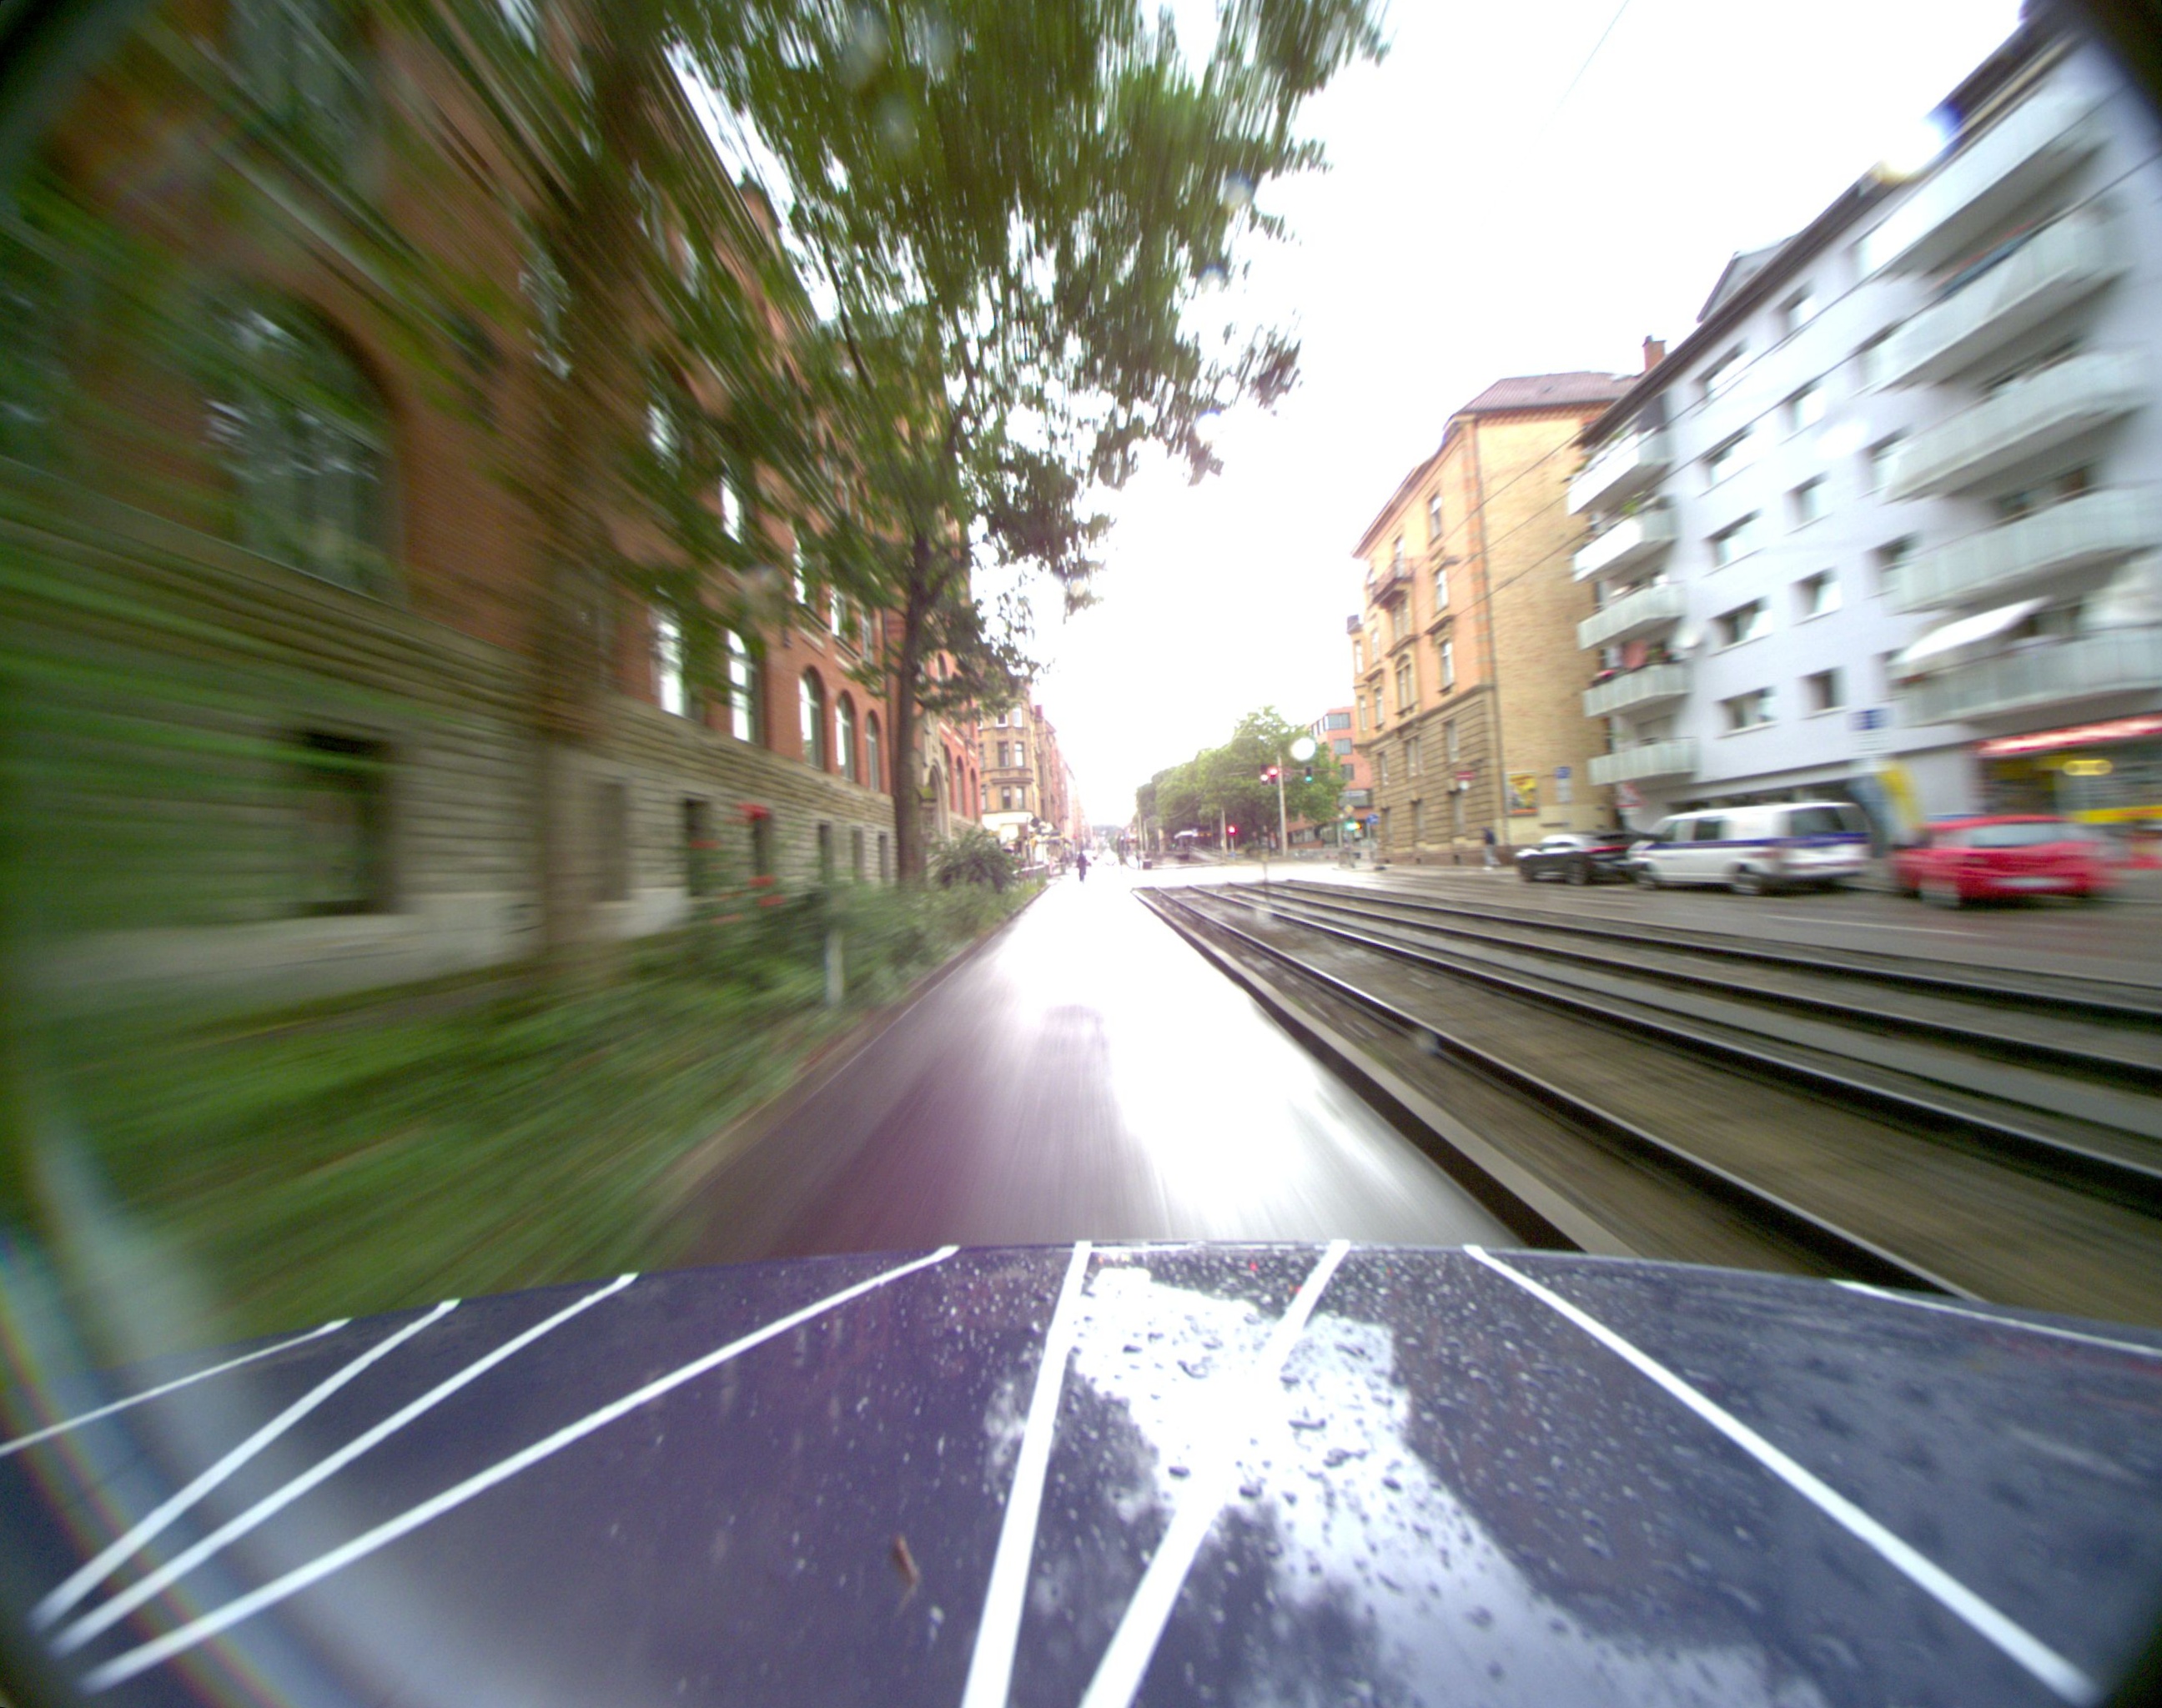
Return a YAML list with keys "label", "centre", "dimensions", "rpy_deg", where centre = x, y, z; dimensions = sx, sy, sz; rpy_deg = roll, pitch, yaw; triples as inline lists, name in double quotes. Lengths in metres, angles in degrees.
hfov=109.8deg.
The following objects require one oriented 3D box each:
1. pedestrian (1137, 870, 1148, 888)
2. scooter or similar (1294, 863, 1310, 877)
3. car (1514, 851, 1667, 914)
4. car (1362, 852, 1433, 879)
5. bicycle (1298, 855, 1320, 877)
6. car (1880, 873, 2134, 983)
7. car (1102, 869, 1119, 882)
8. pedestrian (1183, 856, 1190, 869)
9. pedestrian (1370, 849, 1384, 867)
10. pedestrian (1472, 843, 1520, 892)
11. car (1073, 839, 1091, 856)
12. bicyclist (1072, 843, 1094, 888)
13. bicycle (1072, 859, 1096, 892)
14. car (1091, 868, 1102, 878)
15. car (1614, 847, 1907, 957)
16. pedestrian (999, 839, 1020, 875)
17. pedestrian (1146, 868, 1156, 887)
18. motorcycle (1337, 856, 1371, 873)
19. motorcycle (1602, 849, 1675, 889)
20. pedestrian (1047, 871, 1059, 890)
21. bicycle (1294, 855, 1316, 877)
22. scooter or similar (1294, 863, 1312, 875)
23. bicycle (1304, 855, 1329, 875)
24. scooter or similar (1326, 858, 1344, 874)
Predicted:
- label: "pedestrian"
  centre: [5.952, 2.422, 73.637]
  dimensions: [0.837, 1.595, 1.001]
  rpy_deg: [-3, 0, 0]
- label: "scooter or similar"
  centre: [22.624, 1.653, 77.793]
  dimensions: [1.507, 1.363, 0.452]
  rpy_deg: [-4, -1, -15]
- label: "car"
  centre: [15.535, 0.824, 23.495]
  dimensions: [1.737, 1.641, 4.364]
  rpy_deg: [-4, -1, 1]
- label: "car"
  centre: [20.473, 0.758, 49.292]
  dimensions: [3.796, 1.529, 1.777]
  rpy_deg: [-3, 0, -6]
- label: "bicycle"
  centre: [22.459, 1.190, 74.734]
  dimensions: [1.896, 2.001, 0.518]
  rpy_deg: [-4, 0, -5]
- label: "car"
  centre: [15.777, 1.174, 13.243]
  dimensions: [1.781, 1.425, 3.990]
  rpy_deg: [-4, -1, 36]
- label: "car"
  centre: [3.586, 2.629, 92.697]
  dimensions: [1.883, 1.438, 4.001]
  rpy_deg: [-4, -1, 1]
- label: "pedestrian"
  centre: [17.008, 1.409, 122.071]
  dimensions: [0.837, 2.050, 0.884]
  rpy_deg: [-3, 0, -2]
- label: "pedestrian"
  centre: [28.828, 0.359, 74.117]
  dimensions: [0.898, 1.719, 1.009]
  rpy_deg: [-3, 0, 2]
- label: "pedestrian"
  centre: [17.208, 0.548, 31.543]
  dimensions: [1.175, 1.917, 1.177]
  rpy_deg: [-4, -1, -6]
- label: "car"
  centre: [0.200, -0.809, 96.364]
  dimensions: [1.825, 1.893, 5.993]
  rpy_deg: [-4, -1, 3]
- label: "bicyclist"
  centre: [0.127, 0.590, 39.103]
  dimensions: [0.920, 2.249, 1.288]
  rpy_deg: [-3, 0, 3]
- label: "bicycle"
  centre: [0.167, 1.064, 39.042]
  dimensions: [0.936, 1.545, 3.136]
  rpy_deg: [-4, -1, 3]
- label: "car"
  centre: [3.088, 3.859, 152.502]
  dimensions: [1.884, 1.838, 4.000]
  rpy_deg: [-4, -1, -2]
- label: "car"
  centre: [15.580, 1.032, 18.004]
  dimensions: [2.075, 1.997, 5.303]
  rpy_deg: [-6, -1, 1]
- label: "pedestrian"
  centre: [-3.764, 0.165, 40.160]
  dimensions: [0.960, 1.876, 1.074]
  rpy_deg: [-2, -1, 1]
- label: "pedestrian"
  centre: [6.780, 2.245, 73.457]
  dimensions: [0.827, 1.788, 1.001]
  rpy_deg: [-3, 0, 0]
- label: "motorcycle"
  centre: [24.715, 0.972, 68.822]
  dimensions: [2.658, 1.363, 0.866]
  rpy_deg: [-3, 0, -5]
- label: "motorcycle"
  centre: [20.528, 0.553, 28.046]
  dimensions: [0.931, 1.368, 2.309]
  rpy_deg: [-4, -1, 1]
- label: "pedestrian"
  centre: [-2.592, 2.464, 69.966]
  dimensions: [0.996, 1.694, 0.781]
  rpy_deg: [-4, 0, 1]
- label: "bicycle"
  centre: [22.357, 1.210, 75.728]
  dimensions: [1.896, 2.001, 0.518]
  rpy_deg: [-4, 0, -5]
- label: "scooter or similar"
  centre: [22.534, 1.509, 77.119]
  dimensions: [1.720, 1.187, 0.478]
  rpy_deg: [-3, 0, -19]
- label: "bicycle"
  centre: [22.549, 1.031, 72.690]
  dimensions: [2.096, 1.688, 0.556]
  rpy_deg: [-5, 2, -5]
- label: "scooter or similar"
  centre: [23.642, 1.096, 70.653]
  dimensions: [1.507, 1.363, 0.452]
  rpy_deg: [-4, -1, -15]
